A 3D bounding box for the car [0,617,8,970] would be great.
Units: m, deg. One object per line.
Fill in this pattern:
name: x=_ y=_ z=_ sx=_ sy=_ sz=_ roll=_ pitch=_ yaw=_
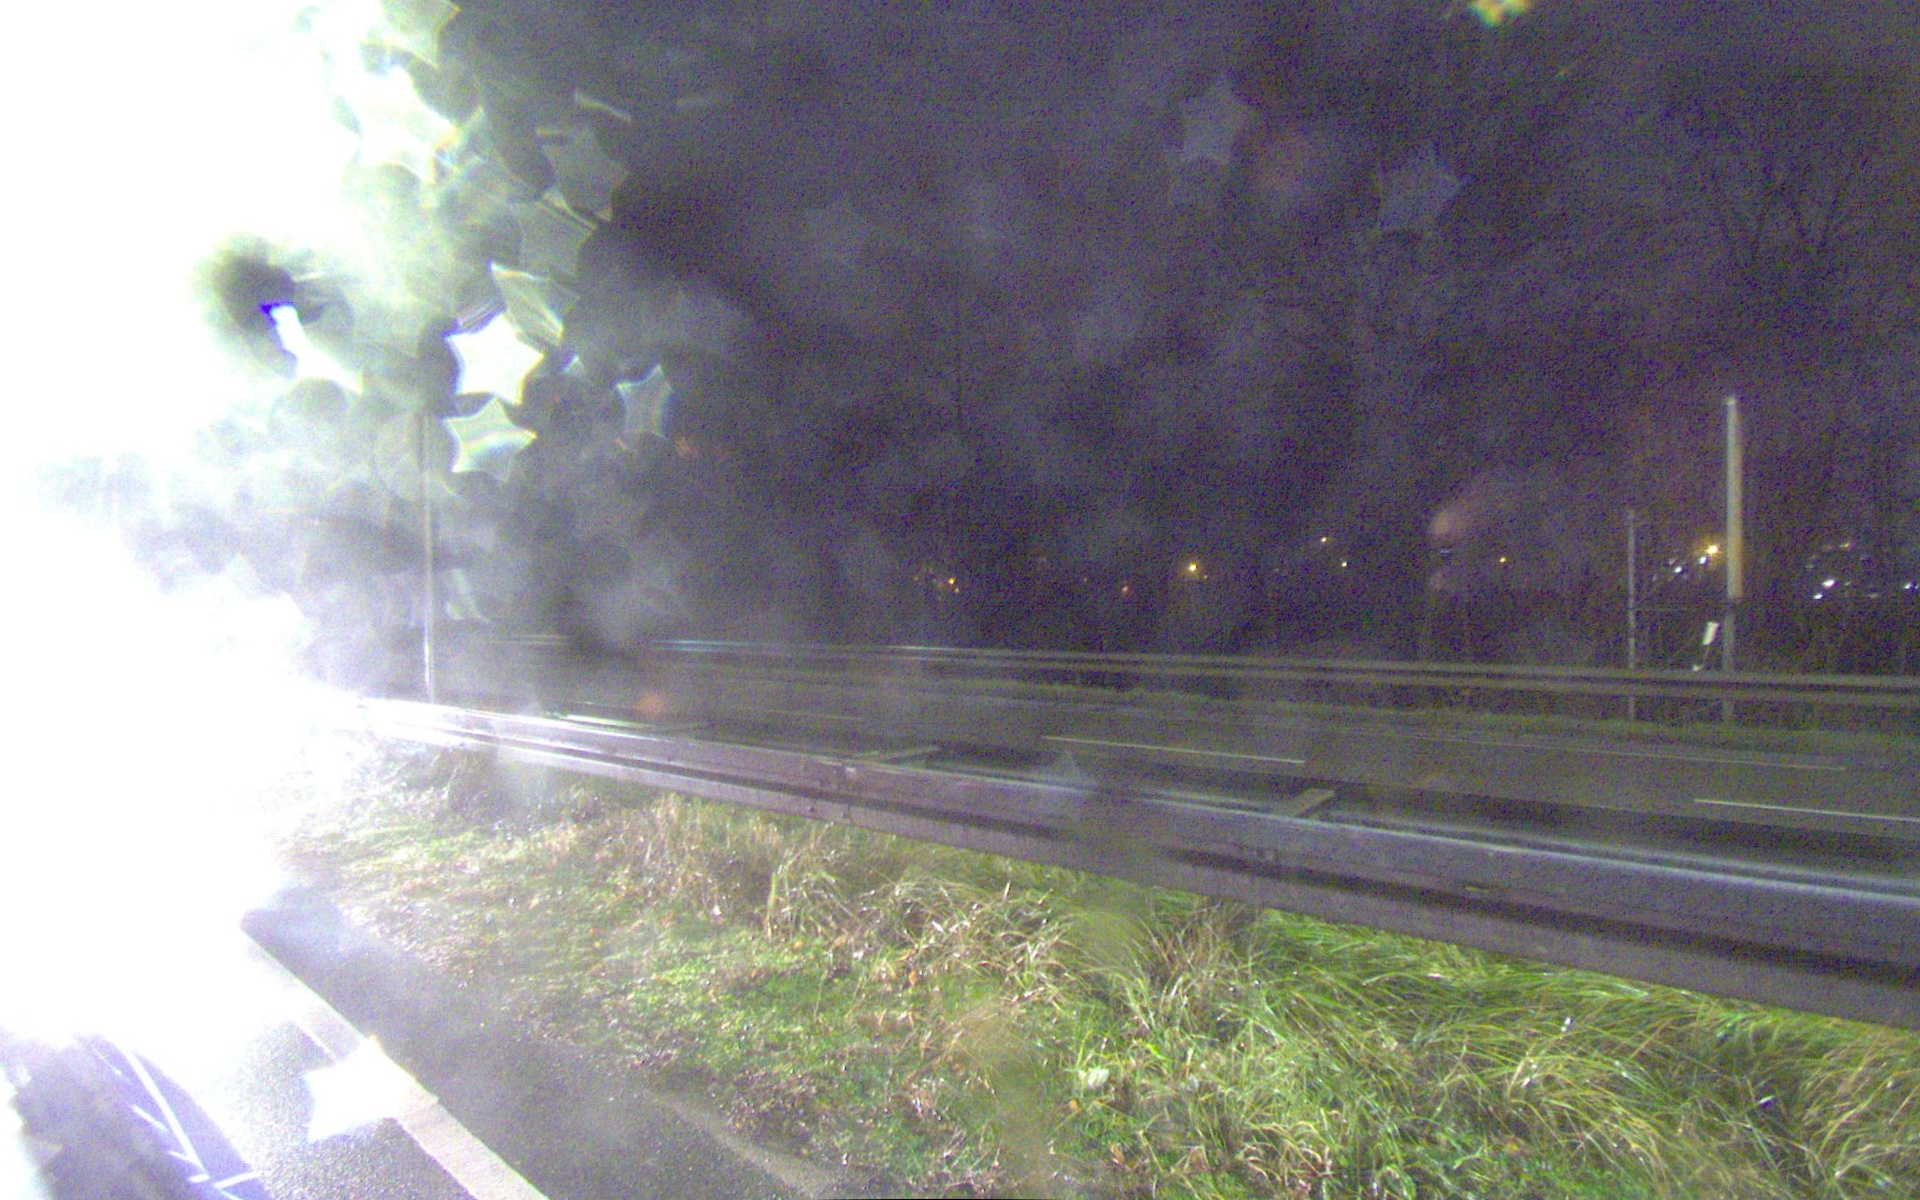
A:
car: x=-5.648 y=0.820 z=4.681 sx=3.388 sy=1.435 sz=1.478 roll=-1 pitch=0 yaw=41
